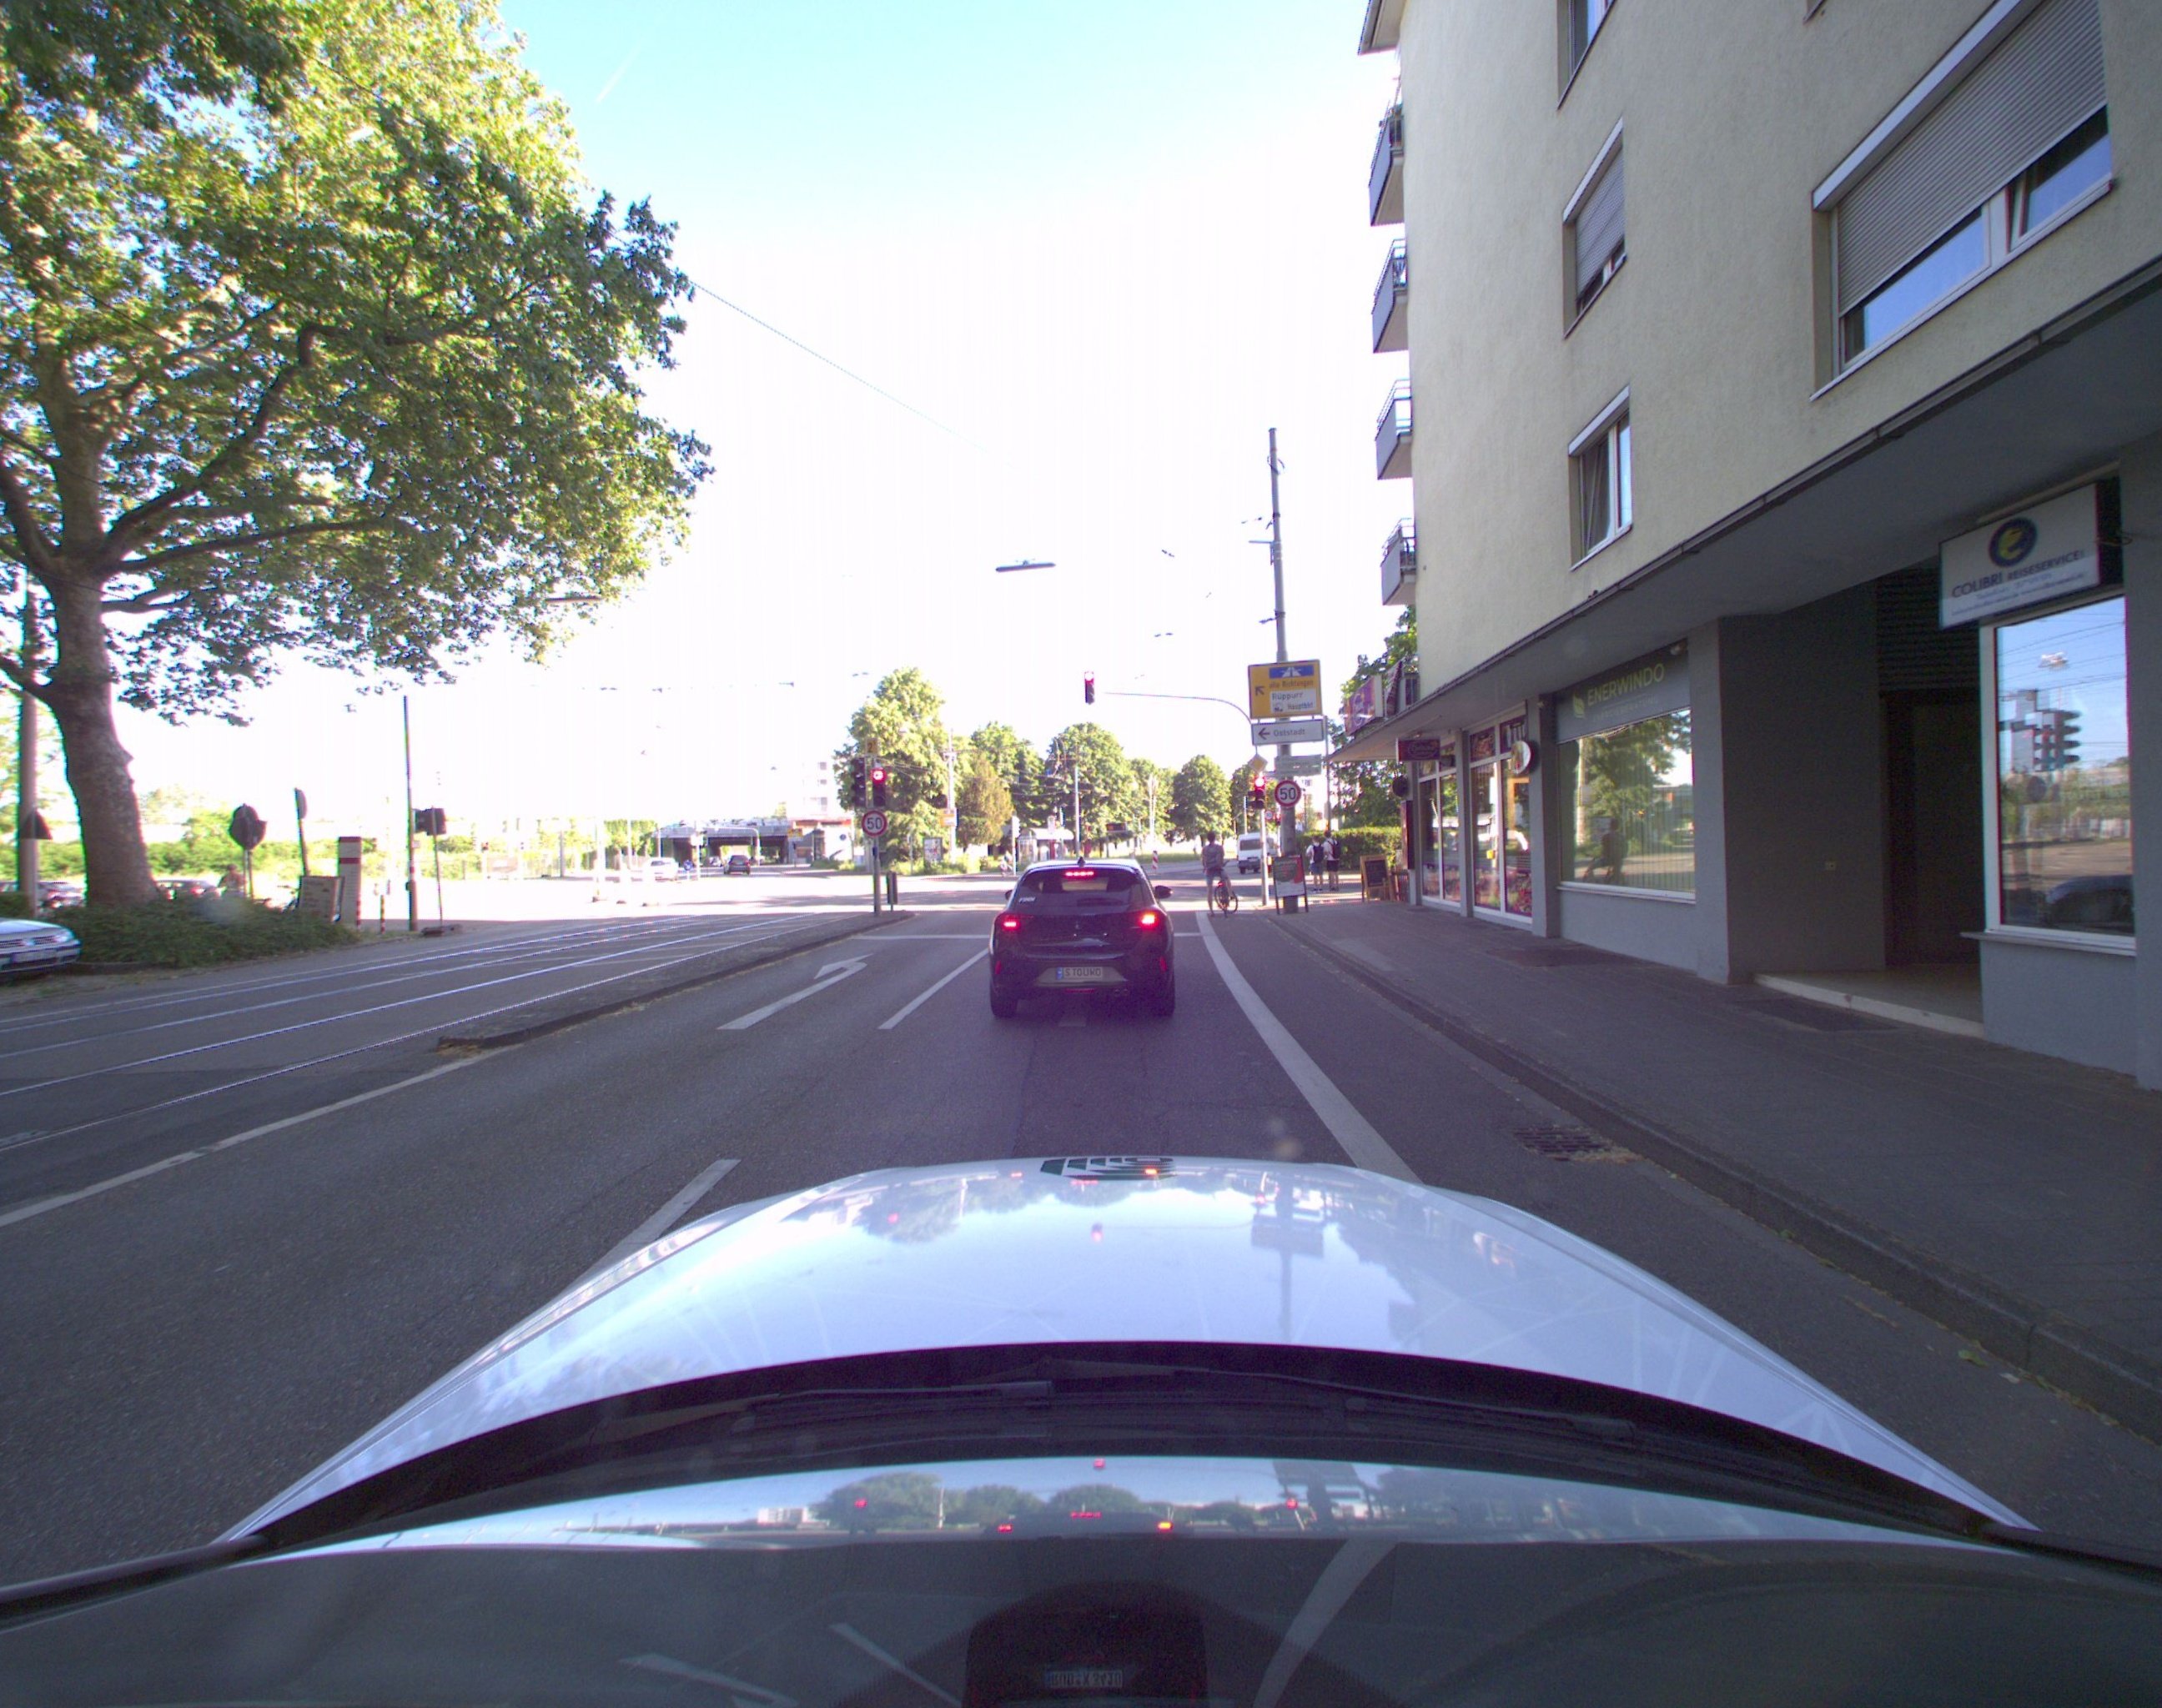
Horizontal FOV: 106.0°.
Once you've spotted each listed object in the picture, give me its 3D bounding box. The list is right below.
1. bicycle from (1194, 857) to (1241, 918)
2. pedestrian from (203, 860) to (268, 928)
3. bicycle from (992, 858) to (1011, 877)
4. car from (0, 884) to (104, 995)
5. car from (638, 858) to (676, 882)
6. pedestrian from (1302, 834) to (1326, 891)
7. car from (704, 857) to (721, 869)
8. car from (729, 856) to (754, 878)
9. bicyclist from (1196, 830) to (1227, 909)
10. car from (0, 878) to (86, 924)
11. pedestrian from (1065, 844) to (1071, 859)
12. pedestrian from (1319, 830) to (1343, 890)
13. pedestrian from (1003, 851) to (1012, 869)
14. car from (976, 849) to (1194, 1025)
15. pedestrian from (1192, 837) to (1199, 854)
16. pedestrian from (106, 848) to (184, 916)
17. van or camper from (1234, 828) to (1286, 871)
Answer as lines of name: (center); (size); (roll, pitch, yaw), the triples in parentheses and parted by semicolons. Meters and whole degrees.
bicycle: (3.035, 0.711, 17.966); (0.747, 1.235, 2.024); (-2, 0, 16)
pedestrian: (-21.319, 0.992, 20.558); (0.774, 1.661, 0.949); (0, -1, -19)
bicycle: (-4.535, 0.756, 46.511); (0.793, 1.064, 2.186); (-2, 0, 2)
car: (-16.625, 1.196, 11.333); (3.957, 1.453, 1.670); (-1, 0, -1)
car: (-29.232, 1.070, 56.219); (1.892, 1.585, 3.809); (0, -1, -21)
pedestrian: (7.305, 0.269, 25.538); (0.627, 1.763, 0.585); (-1, -1, 22)
car: (-51.255, 1.227, 113.341); (1.892, 1.585, 3.809); (0, -1, -21)
car: (-30.425, 1.156, 73.063); (1.916, 1.881, 4.809); (-2, 0, -23)
bicyclist: (2.847, 0.329, 17.808); (0.529, 1.692, 0.571); (-2, 0, 19)
car: (-44.791, 1.983, 33.518); (4.374, 1.764, 1.969); (-2, 0, -30)
pedestrian: (-1.618, -0.254, 102.369); (0.736, 1.872, 0.661); (0, -1, -4)
pedestrian: (7.813, 0.193, 25.446); (0.627, 1.820, 0.749); (-1, -1, 22)
pedestrian: (-6.119, 0.473, 67.837); (0.567, 1.472, 0.666); (-2, 0, 3)
car: (0.096, 0.699, 8.920); (1.833, 1.462, 3.985); (-1, 0, 2)
pedestrian: (12.859, -0.988, 91.465); (0.607, 1.872, 0.515); (0, -1, -26)
pedestrian: (-23.214, 0.683, 20.213); (0.842, 1.647, 0.931); (0, -1, 1)
van or camper: (10.195, -0.229, 46.195); (2.011, 2.310, 4.565); (-1, -1, 23)
